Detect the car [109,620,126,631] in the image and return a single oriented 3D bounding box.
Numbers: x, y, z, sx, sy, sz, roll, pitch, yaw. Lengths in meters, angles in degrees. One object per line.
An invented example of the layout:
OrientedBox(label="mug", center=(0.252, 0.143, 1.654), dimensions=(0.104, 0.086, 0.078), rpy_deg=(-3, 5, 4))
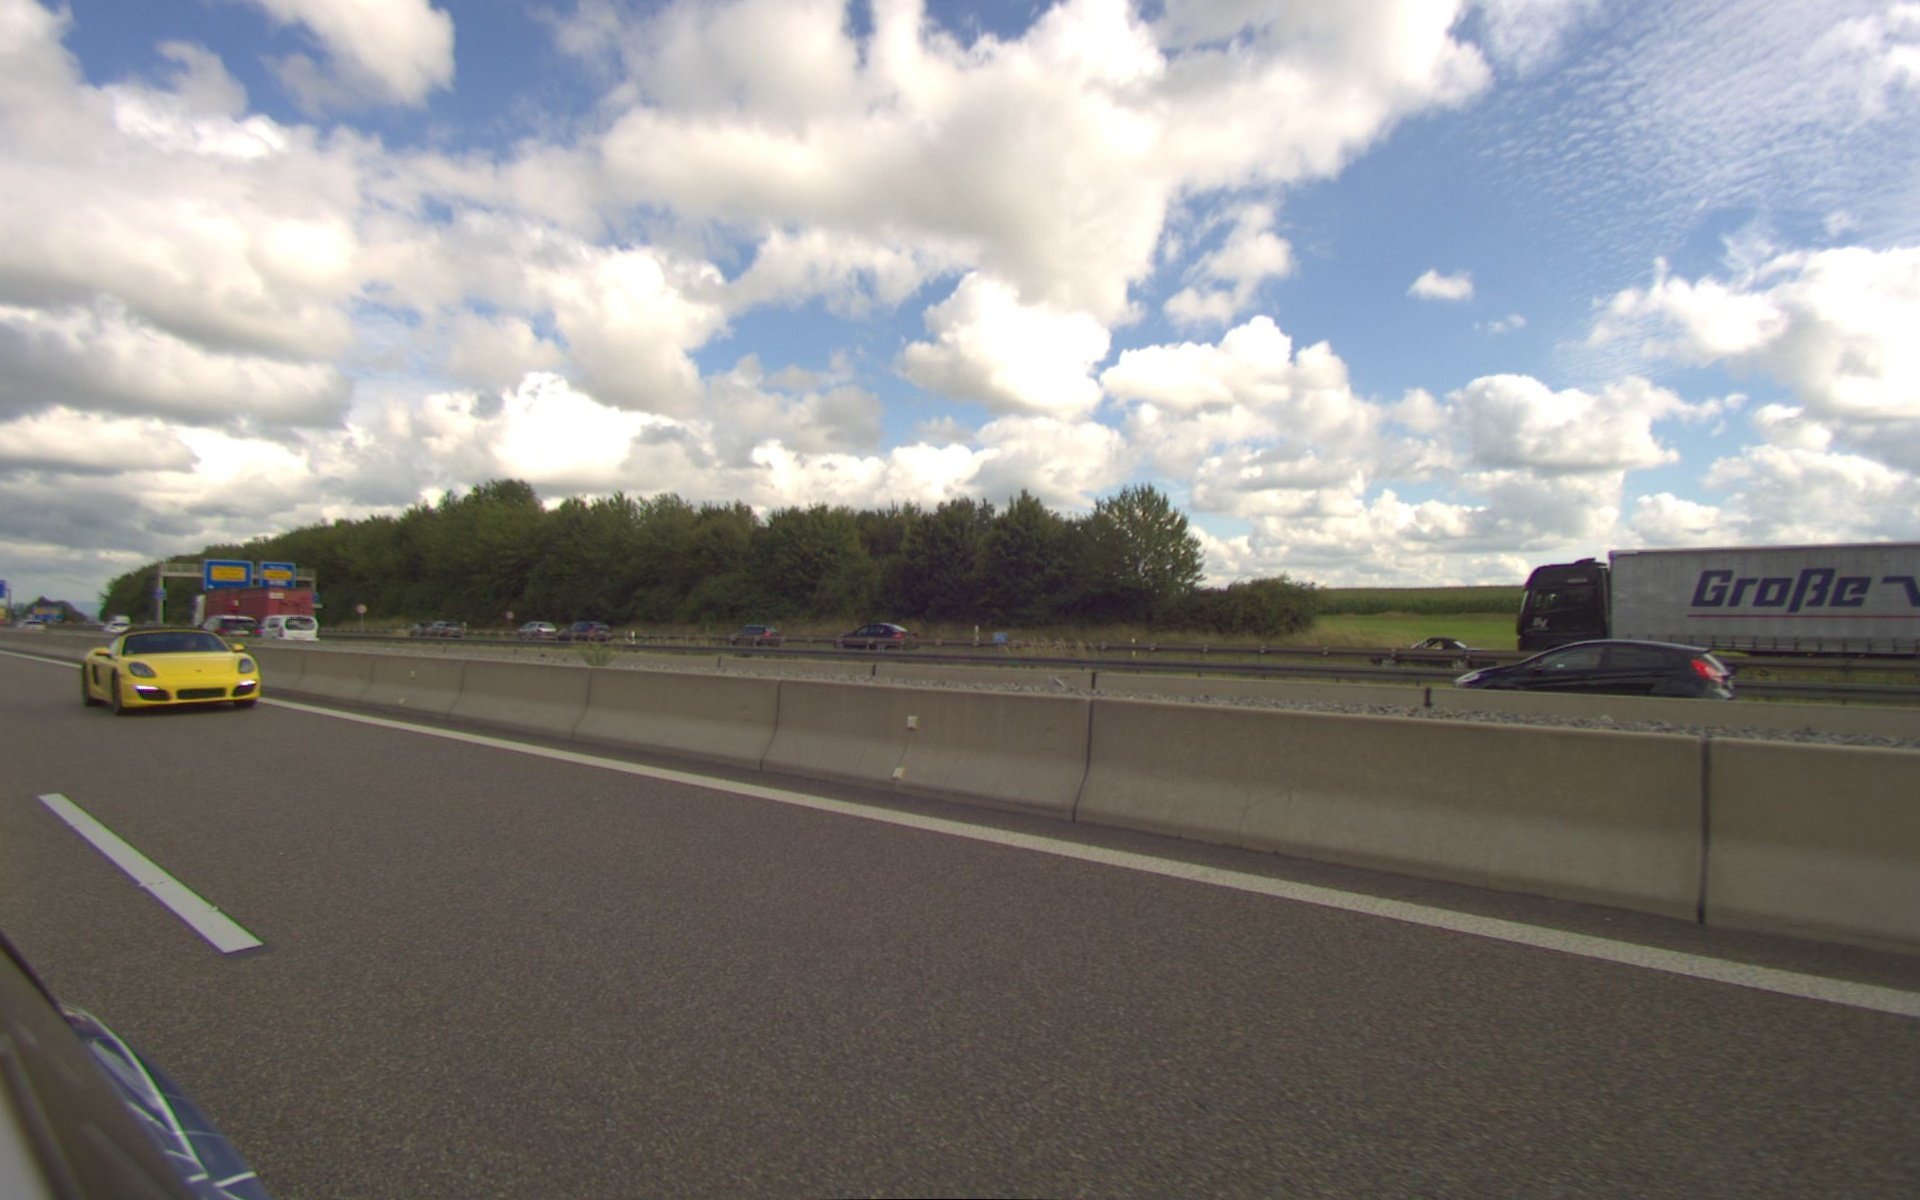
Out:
OrientedBox(label="car", center=(-168.901, 5.153, 202.879), dimensions=(5.889, 2.251, 1.972), rpy_deg=(-1, -2, 43))

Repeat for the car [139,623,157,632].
OrientedBox(label="car", center=(-147.214, 4.978, 183.540), dimensions=(4.418, 1.674, 1.827), rpy_deg=(-1, -2, 42))

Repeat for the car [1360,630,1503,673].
OrientedBox(label="car", center=(15.822, 1.706, 34.085), dimensions=(4.111, 1.323, 1.592), rpy_deg=(-1, -1, 42))

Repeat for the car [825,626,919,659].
OrientedBox(label="car", center=(-4.114, 1.952, 46.795), dimensions=(4.518, 1.420, 1.697), rpy_deg=(-1, -1, 41))

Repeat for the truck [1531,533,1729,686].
OrientedBox(label="truck", center=(22.297, 0.340, 33.772), dimensions=(5.071, 4.694, 3.013), rpy_deg=(-1, -1, 42))

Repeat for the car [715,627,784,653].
OrientedBox(label="car", center=(-13.598, 2.532, 65.159), dimensions=(4.801, 1.577, 1.729), rpy_deg=(-1, -1, 40))

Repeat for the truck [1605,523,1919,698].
OrientedBox(label="truck", center=(27.273, 0.299, 29.340), dimensions=(14.122, 4.839, 3.041), rpy_deg=(-1, -1, 42))

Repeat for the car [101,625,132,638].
OrientedBox(label="car", center=(-79.350, 2.964, 95.163), dimensions=(4.128, 1.202, 1.638), rpy_deg=(-1, -2, 41))

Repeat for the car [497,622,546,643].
OrientedBox(label="car", center=(-34.371, 2.517, 79.282), dimensions=(4.450, 1.545, 1.711), rpy_deg=(-1, -1, 41))

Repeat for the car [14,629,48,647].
OrientedBox(label="car", center=(-80.550, 3.299, 87.750), dimensions=(4.641, 1.516, 1.671), rpy_deg=(-1, -2, 41))

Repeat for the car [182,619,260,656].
OrientedBox(label="car", center=(-32.492, 1.601, 44.435), dimensions=(4.940, 1.543, 1.745), rpy_deg=(-1, -1, 41))

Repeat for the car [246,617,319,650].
OrientedBox(label="car", center=(-33.652, 1.639, 50.231), dimensions=(4.939, 1.543, 1.745), rpy_deg=(-1, -1, 41))

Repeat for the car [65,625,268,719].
OrientedBox(label="car", center=(-12.894, 1.083, 16.353), dimensions=(4.245, 1.325, 1.787), rpy_deg=(-1, -3, 41))

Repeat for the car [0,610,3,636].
OrientedBox(label="car", center=(-171.845, 4.094, 178.682), dimensions=(14.139, 4.358, 2.875), rpy_deg=(-1, -2, 41))

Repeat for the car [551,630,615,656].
OrientedBox(label="car", center=(-24.477, 2.770, 65.575), dimensions=(4.939, 1.543, 1.745), rpy_deg=(-1, -1, 41))

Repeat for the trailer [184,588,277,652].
OrientedBox(label="trailer", center=(-52.307, 1.436, 72.398), dimensions=(10.649, 4.321, 3.015), rpy_deg=(-1, -2, 41))

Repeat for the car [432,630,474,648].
OrientedBox(label="car", center=(-43.766, 3.353, 87.359), dimensions=(4.191, 1.543, 1.745), rpy_deg=(-1, -1, 41))

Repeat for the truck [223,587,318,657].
OrientedBox(label="truck", center=(-45.208, 1.433, 66.272), dimensions=(8.584, 4.321, 3.015), rpy_deg=(-1, -2, 41))

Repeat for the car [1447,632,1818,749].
OrientedBox(label="car", center=(10.517, 1.302, 16.072), dimensions=(4.714, 1.543, 1.745), rpy_deg=(-1, -1, 41))
